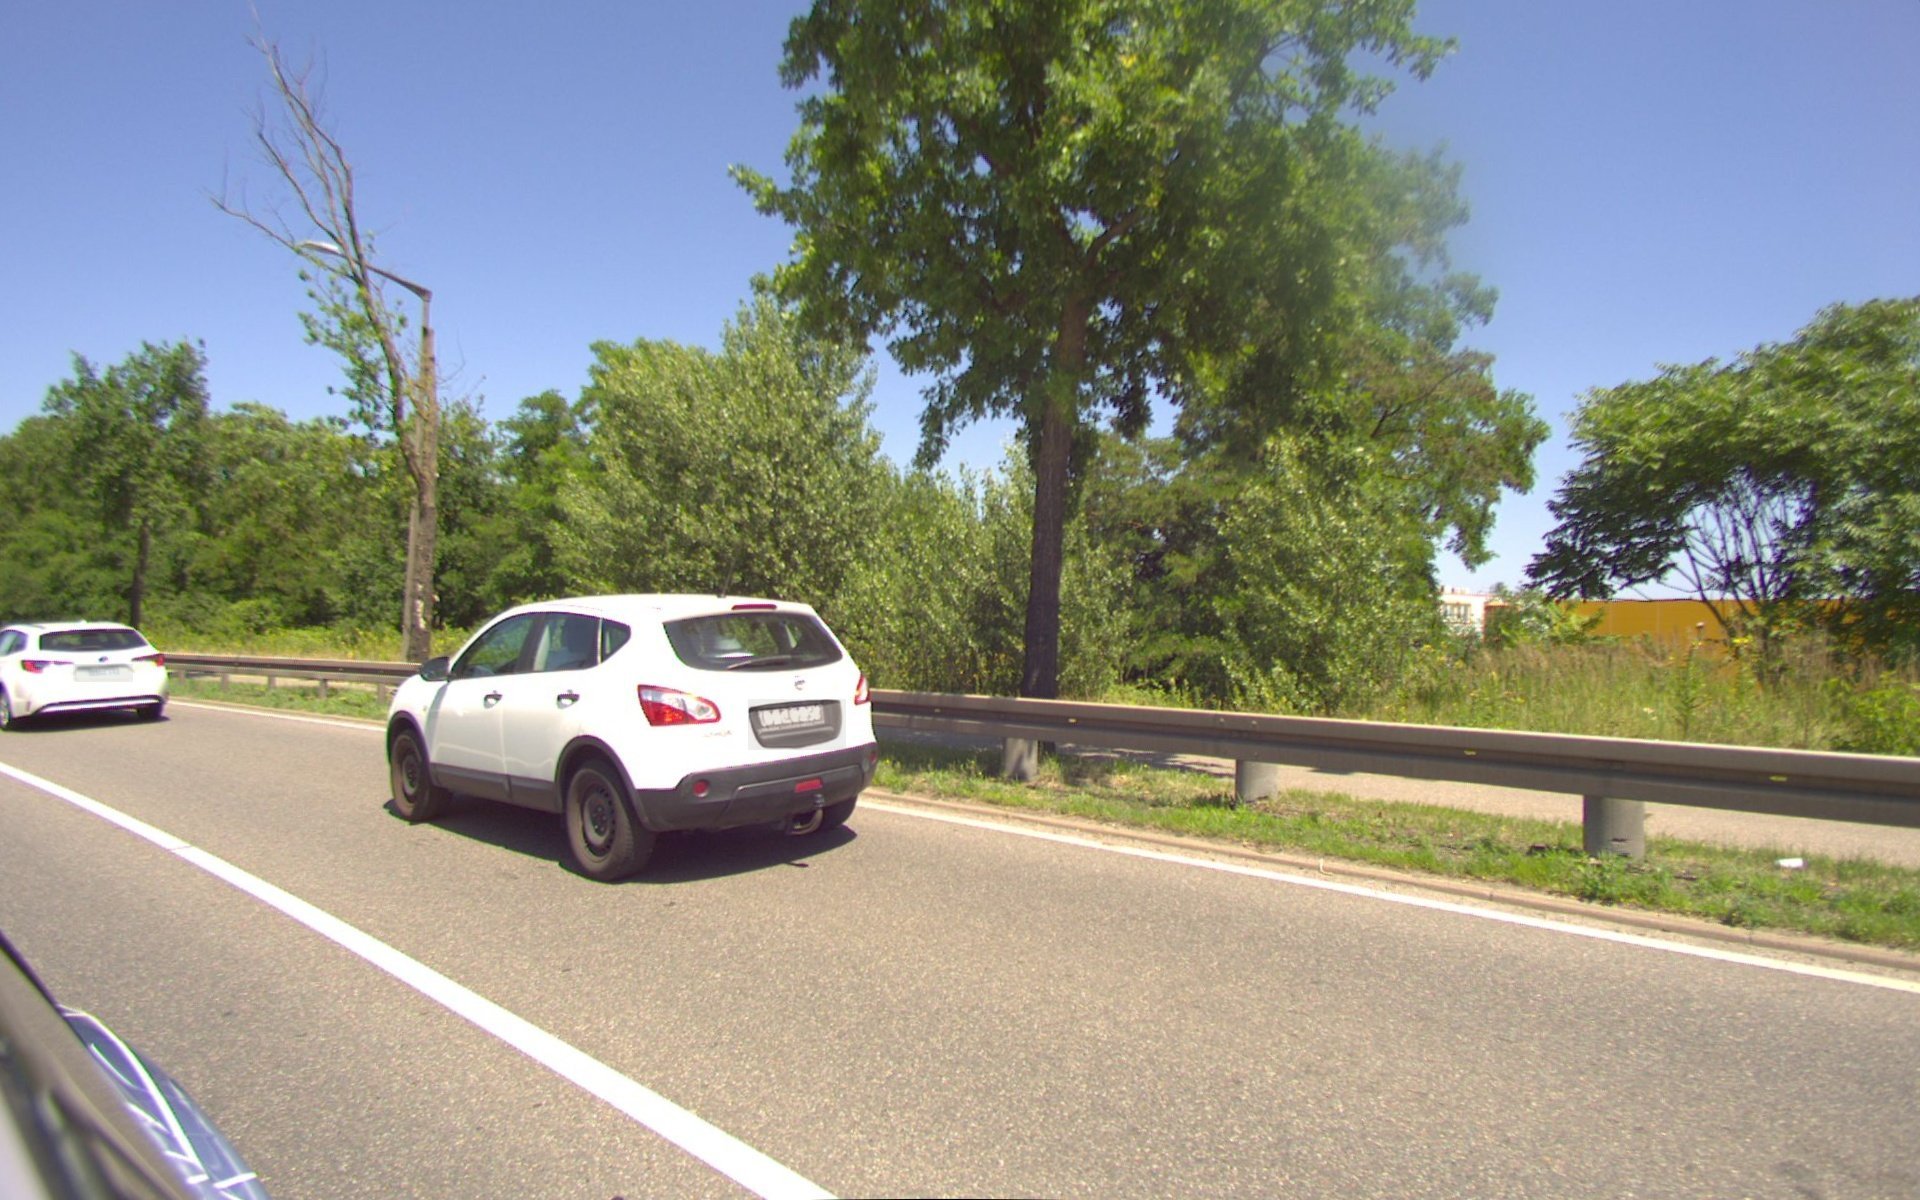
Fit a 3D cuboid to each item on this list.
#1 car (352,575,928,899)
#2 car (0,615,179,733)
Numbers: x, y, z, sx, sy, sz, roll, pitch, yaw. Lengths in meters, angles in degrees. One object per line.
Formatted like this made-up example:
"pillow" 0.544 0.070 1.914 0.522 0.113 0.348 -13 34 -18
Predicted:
"car" -2.422 0.687 6.965 4.390 1.558 1.728 -1 -1 41
"car" -13.329 0.991 14.869 4.449 1.458 1.686 -1 0 35
